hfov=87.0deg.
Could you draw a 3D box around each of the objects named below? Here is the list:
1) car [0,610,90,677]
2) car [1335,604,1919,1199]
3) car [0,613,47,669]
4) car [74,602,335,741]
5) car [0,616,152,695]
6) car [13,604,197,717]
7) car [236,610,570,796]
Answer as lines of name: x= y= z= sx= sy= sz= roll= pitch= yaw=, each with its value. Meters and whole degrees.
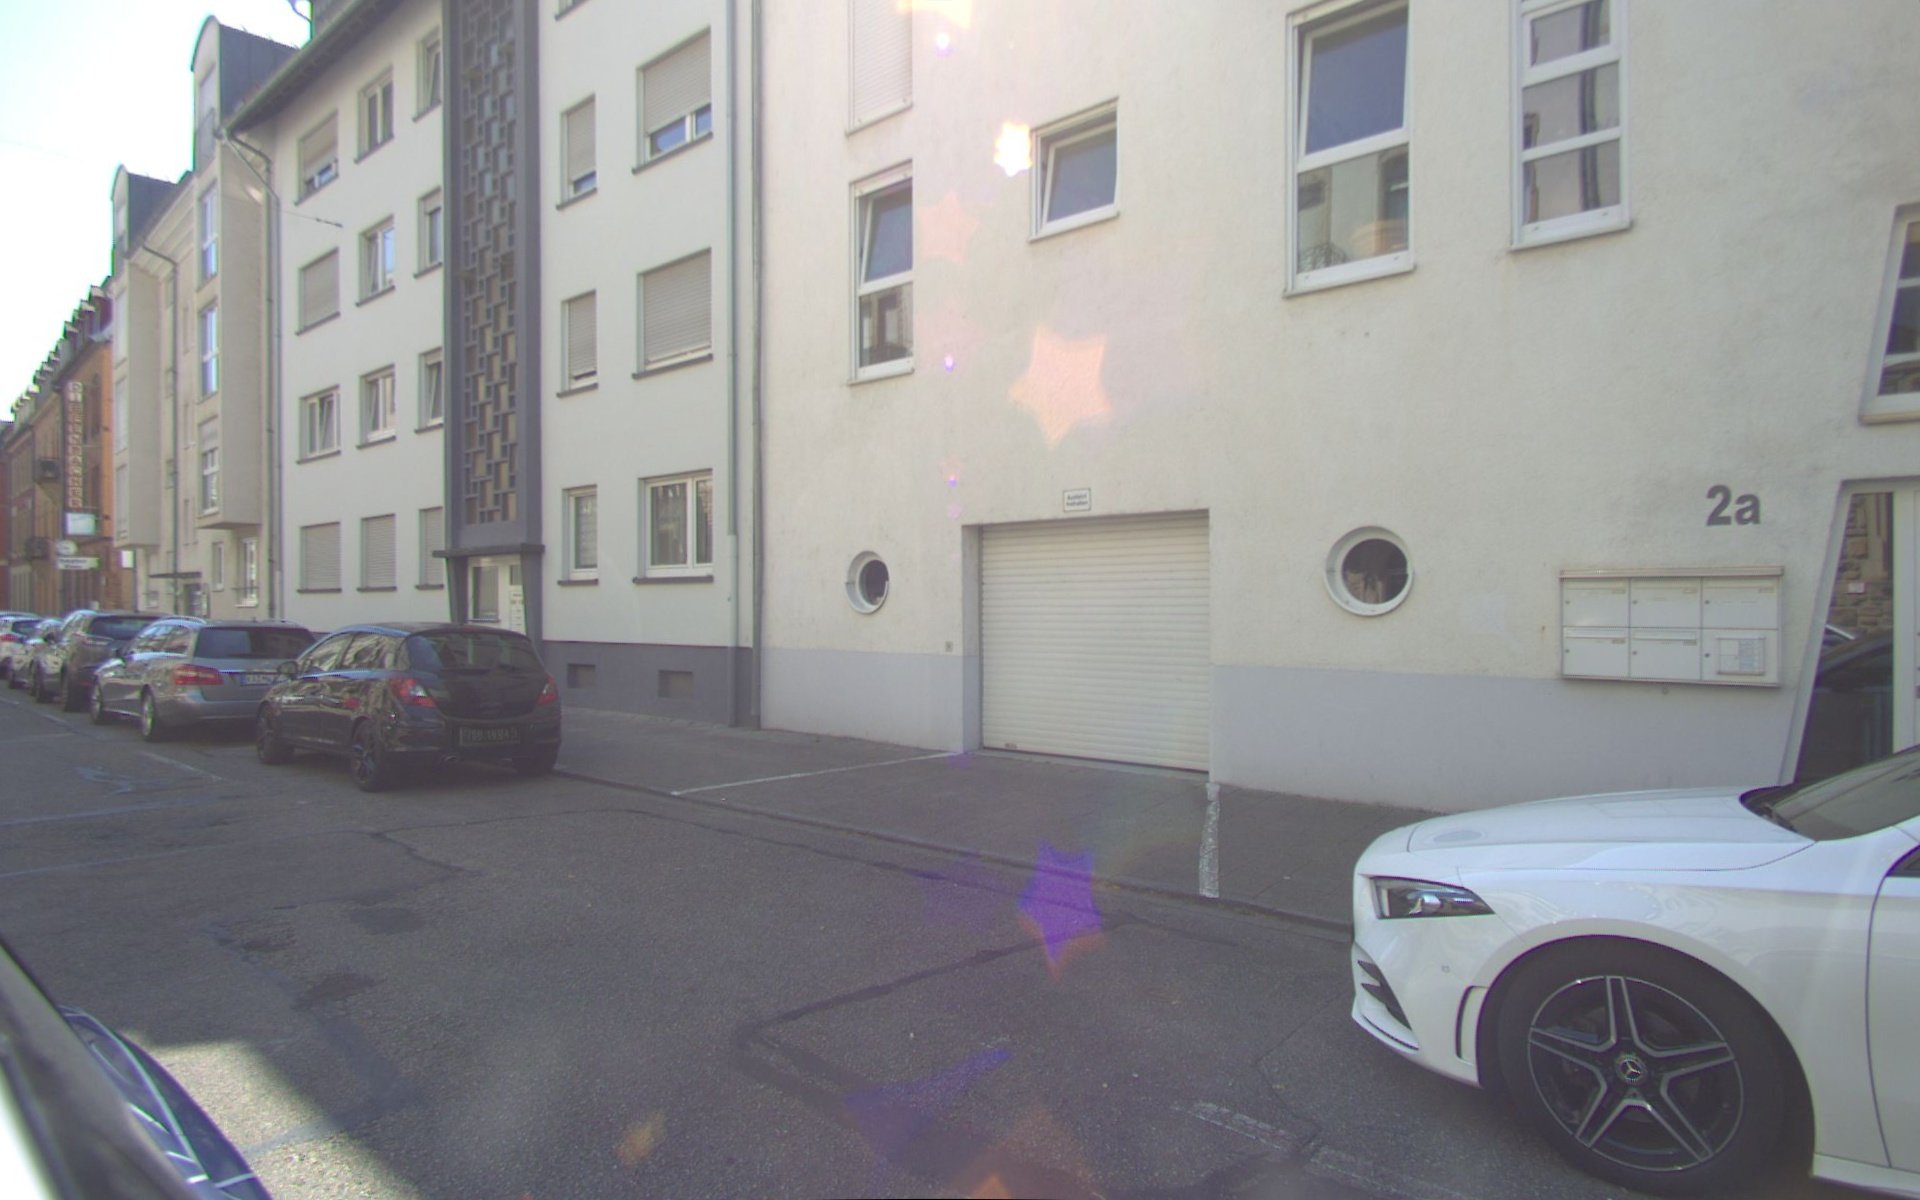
car: x=-23.108 y=1.031 z=24.949 sx=4.344 sy=1.506 sz=1.713 roll=0 pitch=-3 yaw=39
car: x=3.369 y=0.782 z=2.493 sx=4.272 sy=1.471 sz=1.759 roll=0 pitch=-2 yaw=38
car: x=-28.351 y=1.153 z=29.613 sx=3.847 sy=1.561 sz=1.613 roll=0 pitch=-4 yaw=37
car: x=-10.038 y=0.822 z=13.305 sx=4.667 sy=1.530 sz=1.640 roll=0 pitch=-2 yaw=39
car: x=-18.036 y=1.063 z=20.452 sx=4.344 sy=1.404 sz=1.747 roll=0 pitch=-2 yaw=39
car: x=-14.221 y=0.925 z=16.763 sx=3.973 sy=1.656 sz=1.588 roll=0 pitch=-2 yaw=39
car: x=-5.661 y=0.881 z=10.111 sx=3.890 sy=1.503 sz=1.551 roll=0 pitch=-2 yaw=39
